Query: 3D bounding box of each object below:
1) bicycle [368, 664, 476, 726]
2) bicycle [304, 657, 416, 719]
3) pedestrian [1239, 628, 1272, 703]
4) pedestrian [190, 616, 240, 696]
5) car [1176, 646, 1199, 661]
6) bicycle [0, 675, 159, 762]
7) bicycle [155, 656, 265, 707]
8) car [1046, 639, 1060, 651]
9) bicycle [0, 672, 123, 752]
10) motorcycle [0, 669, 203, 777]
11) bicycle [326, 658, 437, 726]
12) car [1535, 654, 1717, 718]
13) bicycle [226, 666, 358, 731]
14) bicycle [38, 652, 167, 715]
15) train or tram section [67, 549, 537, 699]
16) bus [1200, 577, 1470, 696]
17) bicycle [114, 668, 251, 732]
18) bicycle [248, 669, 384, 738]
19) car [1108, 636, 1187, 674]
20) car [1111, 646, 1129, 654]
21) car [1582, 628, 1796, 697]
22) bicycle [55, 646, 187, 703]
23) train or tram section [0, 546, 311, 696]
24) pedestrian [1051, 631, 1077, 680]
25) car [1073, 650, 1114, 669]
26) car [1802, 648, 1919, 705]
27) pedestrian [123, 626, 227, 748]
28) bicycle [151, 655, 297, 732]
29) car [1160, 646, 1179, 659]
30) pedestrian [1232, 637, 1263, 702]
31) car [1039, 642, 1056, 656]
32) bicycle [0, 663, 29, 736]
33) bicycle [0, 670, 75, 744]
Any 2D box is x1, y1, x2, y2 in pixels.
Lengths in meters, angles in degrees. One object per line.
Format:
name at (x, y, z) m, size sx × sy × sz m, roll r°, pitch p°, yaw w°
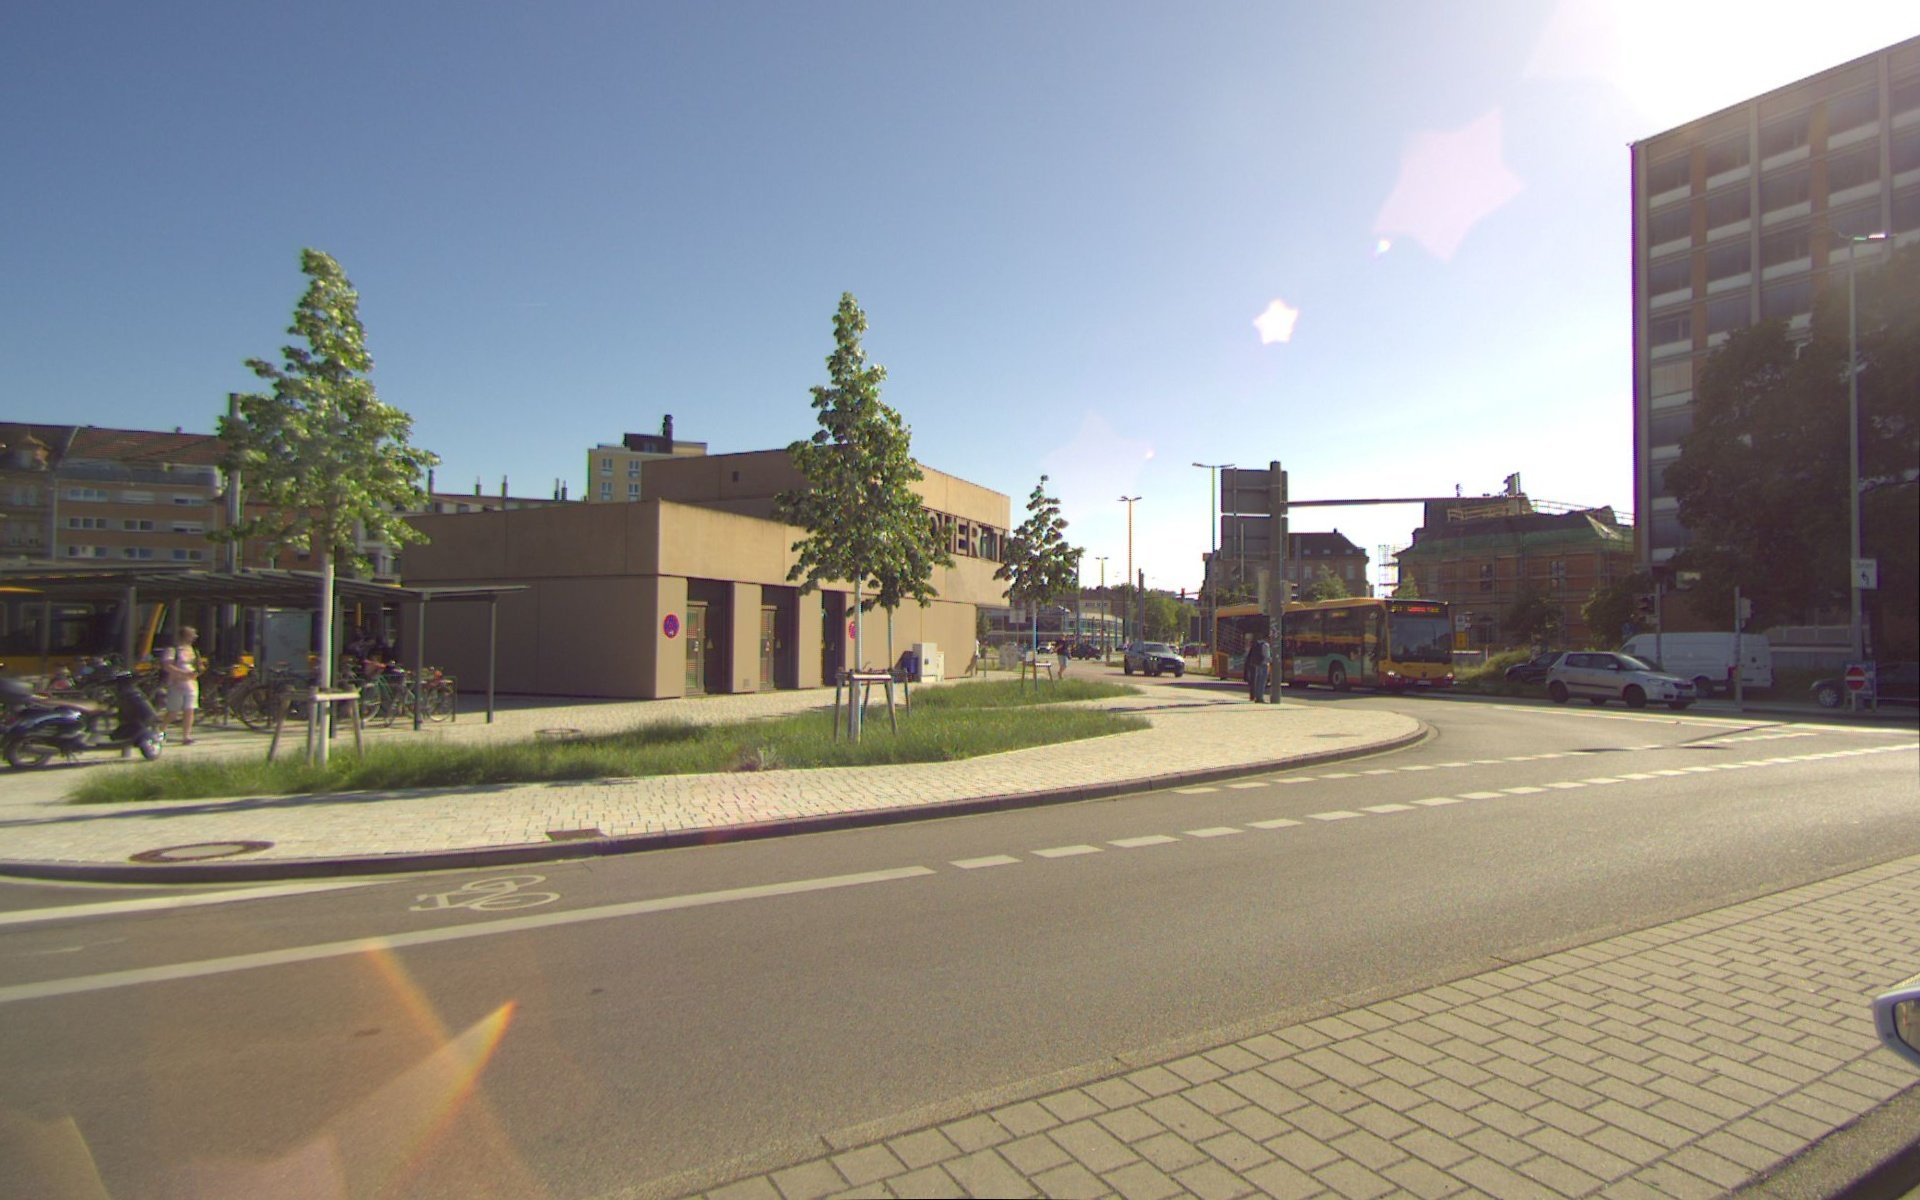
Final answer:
bicycle at (-9.811, 1.715, 18.400) m, size 0.616 × 1.021 × 1.832 m, roll 0°, pitch -2°, yaw 16°
bicycle at (-11.735, 1.693, 19.705) m, size 0.617 × 1.107 × 1.829 m, roll 0°, pitch -2°, yaw 25°
pedestrian at (7.587, 1.676, 25.783) m, size 0.594 × 1.880 × 0.681 m, roll 1°, pitch -2°, yaw -7°
pedestrian at (-17.794, 1.324, 24.002) m, size 0.738 × 1.880 × 0.709 m, roll 1°, pitch -2°, yaw -19°
car at (27.225, 6.423, 120.214) m, size 1.960 × 1.603 × 4.001 m, roll 2°, pitch 0°, yaw 2°
bicycle at (-12.026, 1.564, 13.537) m, size 0.617 × 1.021 × 1.829 m, roll 0°, pitch -2°, yaw 25°
bicycle at (-16.247, 1.740, 21.820) m, size 0.617 × 1.021 × 1.829 m, roll 0°, pitch -2°, yaw 25°
car at (13.619, 6.605, 146.962) m, size 1.865 × 1.728 × 4.003 m, roll 0°, pitch -2°, yaw 6°
bicycle at (-13.109, 1.563, 14.088) m, size 0.617 × 1.021 × 2.026 m, roll 0°, pitch -2°, yaw 25°
motorcycle at (-10.908, 1.484, 12.492) m, size 0.599 × 1.173 × 2.360 m, roll 0°, pitch -2°, yaw 25°
bicycle at (-10.731, 1.682, 18.700) m, size 0.616 × 1.161 × 1.831 m, roll 0°, pitch -2°, yaw 18°
car at (18.313, 2.327, 27.819) m, size 1.863 × 1.421 × 3.842 m, roll 4°, pitch -2°, yaw -18°
bicycle at (-11.604, 1.686, 17.516) m, size 0.492 × 1.010 × 1.887 m, roll 0°, pitch -2°, yaw 31°
bicycle at (-16.900, 1.617, 19.845) m, size 0.617 × 1.146 × 1.828 m, roll 0°, pitch -2°, yaw 27°
train or tram section at (-18.809, 0.805, 30.511) m, size 2.702 × 3.648 × 12.318 m, roll 0°, pitch -2°, yaw 25°
bus at (13.001, 1.332, 36.913) m, size 3.193 × 3.617 × 12.437 m, roll 1°, pitch -2°, yaw -12°
bicycle at (-13.854, 1.748, 17.954) m, size 0.617 × 1.021 × 1.828 m, roll 0°, pitch -2°, yaw 27°
bicycle at (-10.661, 1.684, 16.700) m, size 0.617 × 1.021 × 1.828 m, roll 0°, pitch -2°, yaw 27°
car at (9.837, 2.873, 53.059) m, size 1.975 × 1.885 × 4.720 m, roll 1°, pitch -2°, yaw -21°
car at (28.893, 8.966, 181.312) m, size 1.964 × 1.407 × 3.993 m, roll -1°, pitch -3°, yaw 30°
car at (29.715, 2.478, 41.419) m, size 2.961 × 2.580 × 6.942 m, roll 1°, pitch -2°, yaw -12°
bicycle at (-15.981, 1.398, 19.182) m, size 0.617 × 1.021 × 1.828 m, roll 0°, pitch -2°, yaw 27°
train or tram section at (-24.141, 0.574, 26.419) m, size 2.779 × 3.648 × 12.320 m, roll 0°, pitch -2°, yaw 24°
pedestrian at (3.986, 2.115, 38.689) m, size 0.826 × 1.869 × 0.866 m, roll 1°, pitch -2°, yaw -7°
car at (13.322, 5.942, 100.204) m, size 1.767 × 1.795 × 3.958 m, roll 2°, pitch -2°, yaw -37°
car at (28.787, 2.289, 30.357) m, size 2.066 × 1.602 × 4.844 m, roll 1°, pitch -2°, yaw -15°
pedestrian at (-11.625, 1.250, 14.885) m, size 1.005 × 1.727 × 0.838 m, roll 0°, pitch -2°, yaw 26°
bicycle at (-12.877, 1.605, 17.645) m, size 0.496 × 1.225 × 2.051 m, roll 0°, pitch -2°, yaw 26°
car at (30.095, 7.486, 144.421) m, size 1.960 × 1.603 × 4.001 m, roll 2°, pitch 0°, yaw 2°
pedestrian at (7.680, 1.845, 26.872) m, size 0.594 × 1.719 × 0.634 m, roll 1°, pitch -2°, yaw -7°
car at (12.309, 6.878, 141.519) m, size 1.959 × 1.814 × 4.003 m, roll 0°, pitch -2°, yaw 12°
bicycle at (-15.261, 1.522, 15.028) m, size 0.617 × 1.094 × 1.829 m, roll 0°, pitch -2°, yaw 25°
bicycle at (-14.093, 1.556, 14.529) m, size 0.617 × 1.021 × 1.829 m, roll 0°, pitch -2°, yaw 25°
